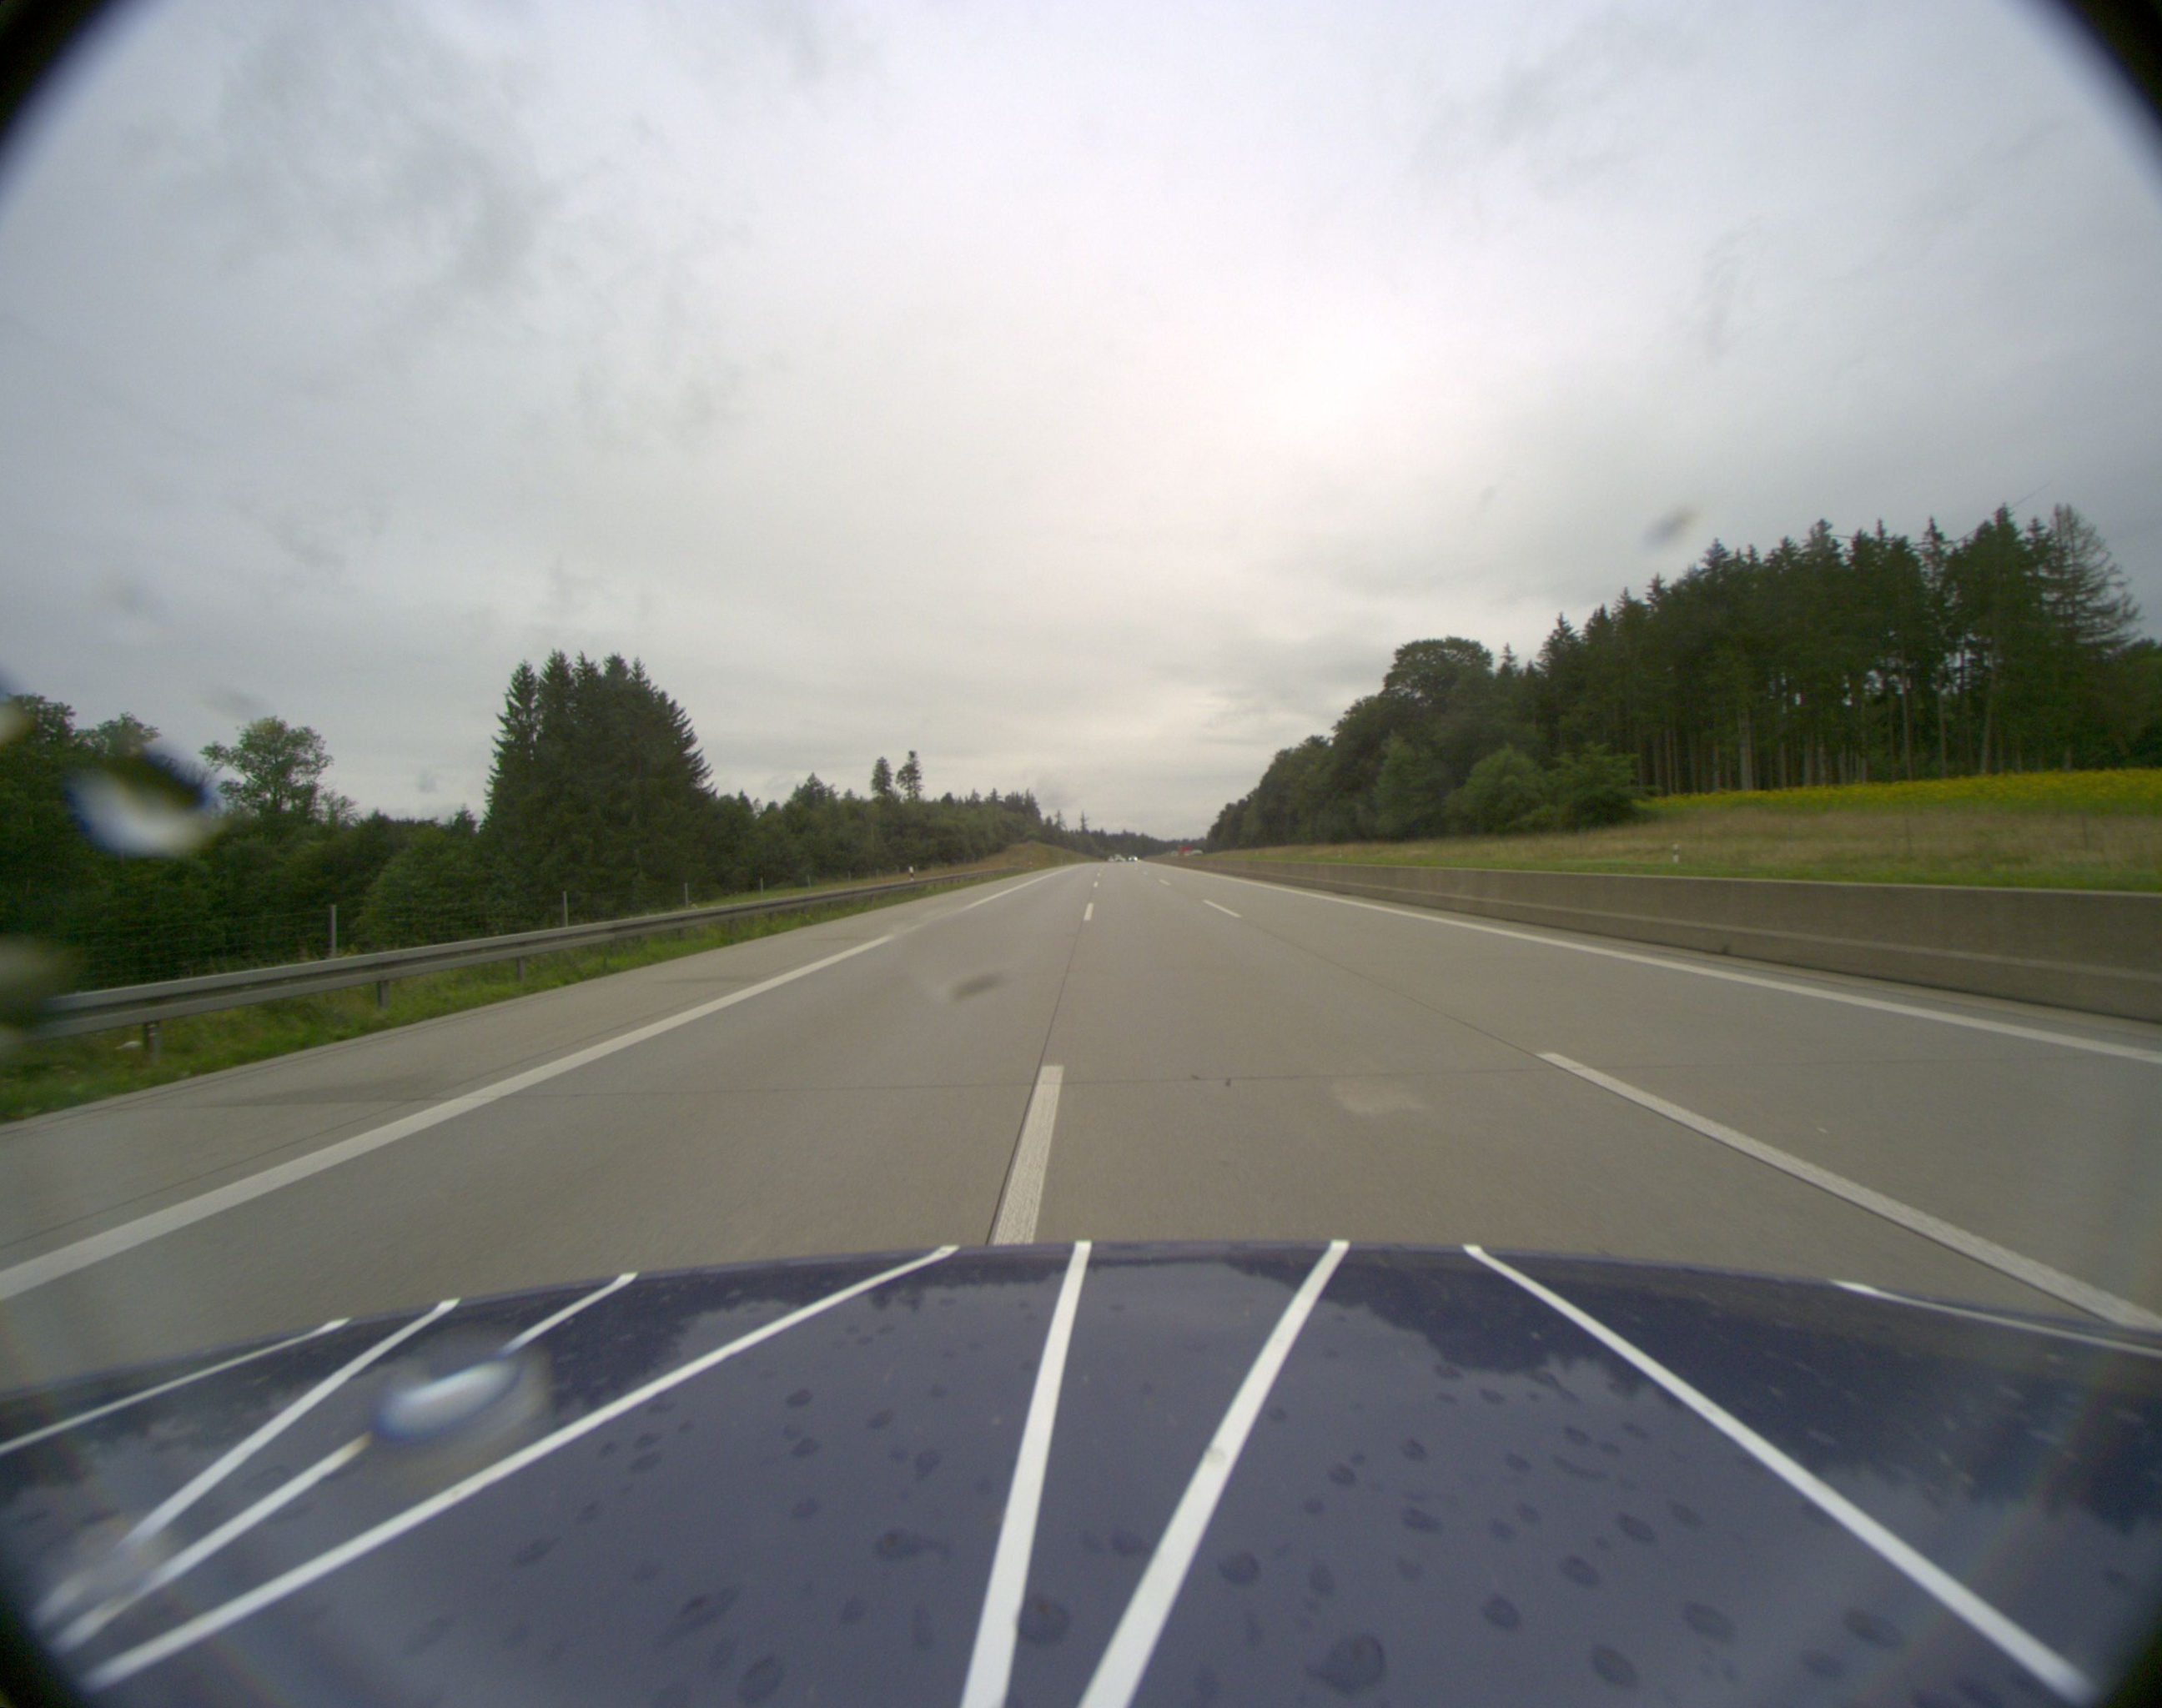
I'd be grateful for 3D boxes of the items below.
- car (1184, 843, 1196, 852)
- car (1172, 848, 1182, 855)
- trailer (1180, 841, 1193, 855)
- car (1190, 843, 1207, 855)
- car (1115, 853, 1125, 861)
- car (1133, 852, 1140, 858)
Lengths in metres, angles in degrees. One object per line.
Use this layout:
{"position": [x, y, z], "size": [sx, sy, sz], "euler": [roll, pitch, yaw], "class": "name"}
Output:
{"position": [23.306, -1.446, 163.137], "size": [1.998, 1.789, 4.391], "euler": [-3, 0, 2], "class": "car"}
{"position": [26.819, -0.714, 212.764], "size": [1.998, 1.944, 5.626], "euler": [-2, 0, 1], "class": "car"}
{"position": [32.190, -1.833, 232.468], "size": [2.614, 3.921, 14.382], "euler": [-2, 0, 3], "class": "trailer"}
{"position": [17.094, -0.757, 110.374], "size": [1.889, 1.578, 4.000], "euler": [-3, 0, 1], "class": "car"}
{"position": [10.634, 0.706, 206.895], "size": [2.214, 2.001, 4.834], "euler": [-3, -1, 0], "class": "car"}
{"position": [15.049, 0.302, 206.616], "size": [1.766, 1.455, 4.002], "euler": [-2, -2, 2], "class": "car"}
